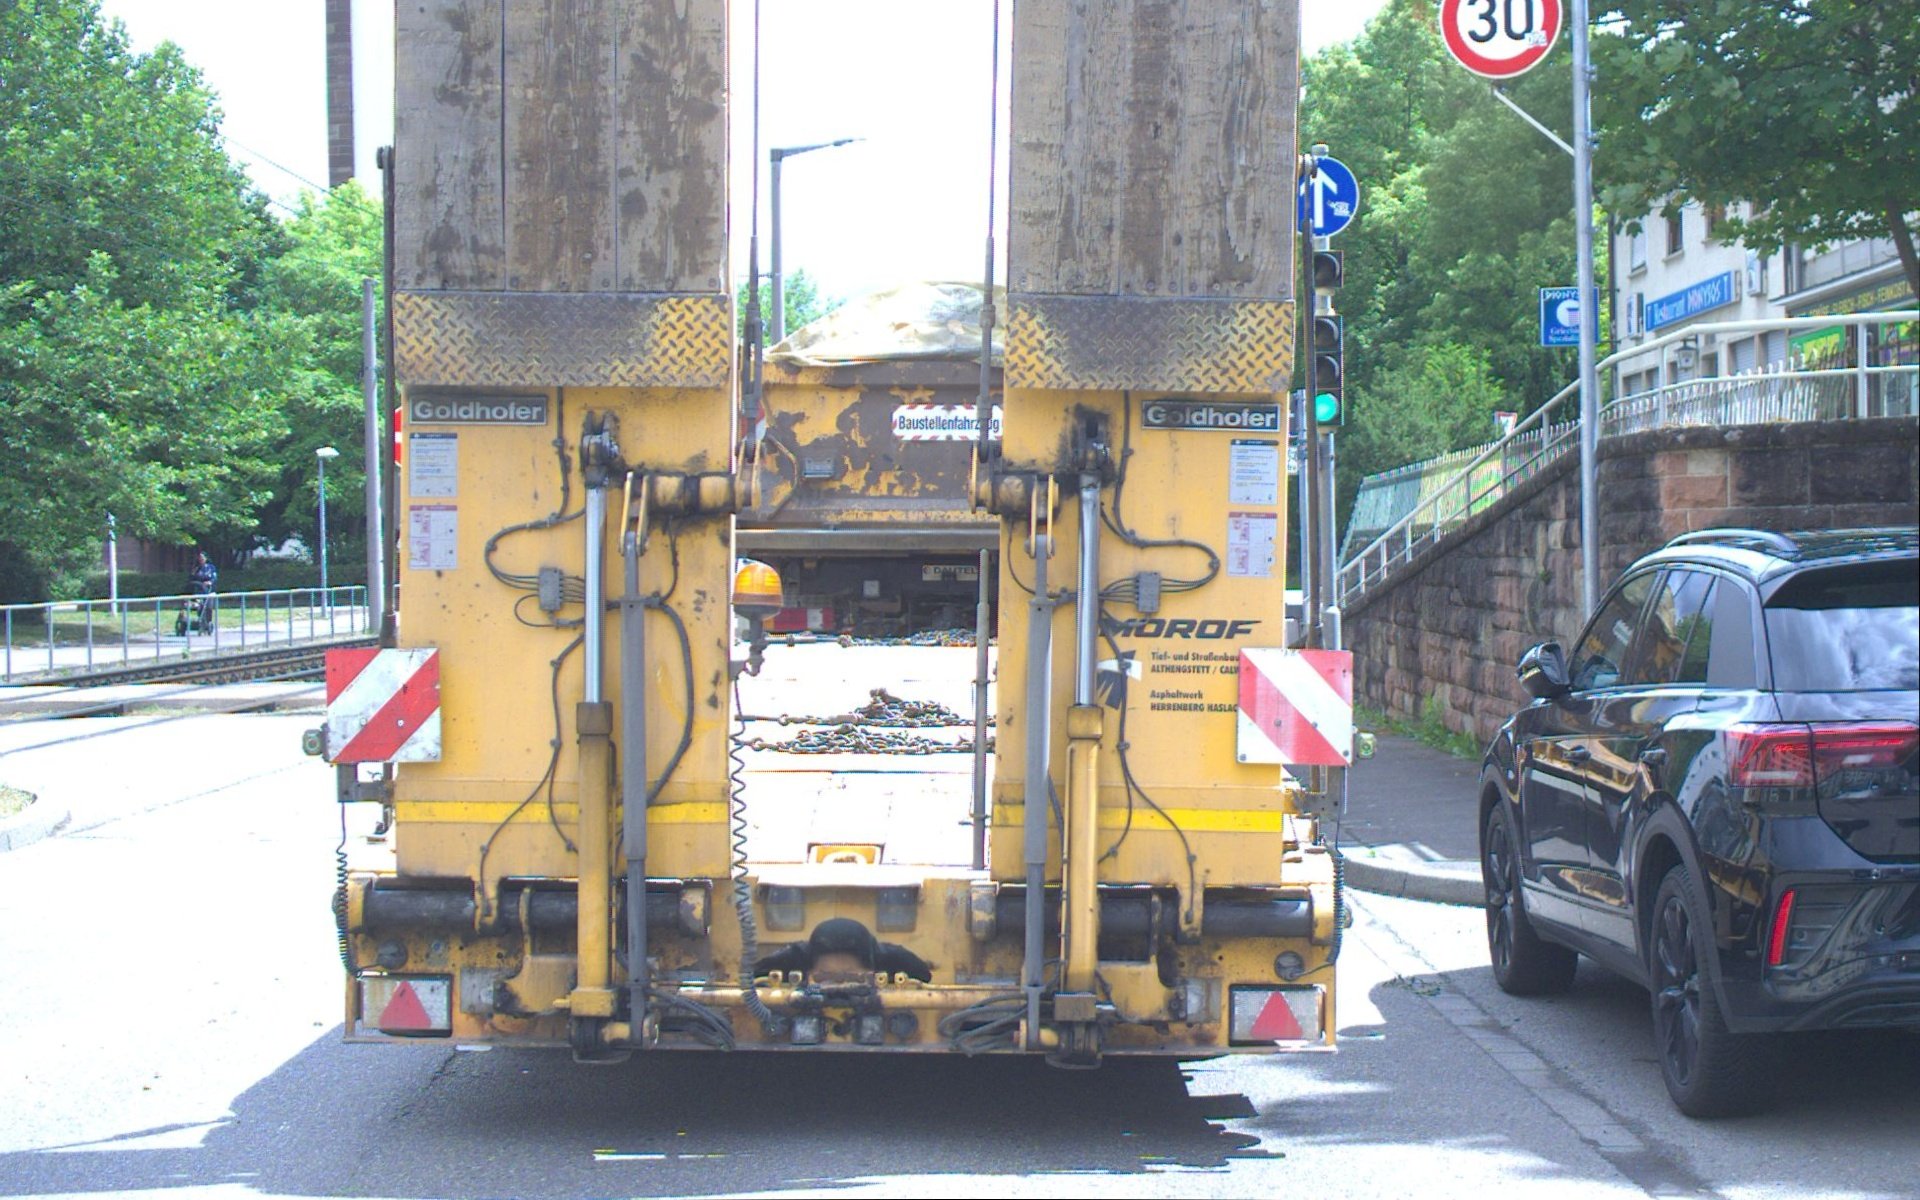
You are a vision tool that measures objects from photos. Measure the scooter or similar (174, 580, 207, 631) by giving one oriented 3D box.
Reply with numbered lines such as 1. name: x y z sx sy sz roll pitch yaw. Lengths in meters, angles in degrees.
1. scooter or similar: -14.909 0.105 66.613 0.505 0.968 0.646 1 1 -2

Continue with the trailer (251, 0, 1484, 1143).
1. trailer: -0.213 -0.560 12.628 2.945 3.589 8.684 -1 1 0

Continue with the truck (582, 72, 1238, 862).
1. truck: -0.216 -0.643 18.088 2.942 3.560 4.877 -1 1 0

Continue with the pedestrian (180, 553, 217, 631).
1. pedestrian: -14.895 -0.165 67.260 0.563 1.508 0.646 1 1 -2

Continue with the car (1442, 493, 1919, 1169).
1. car: 2.681 0.520 10.384 1.851 1.633 4.000 -2 1 0
